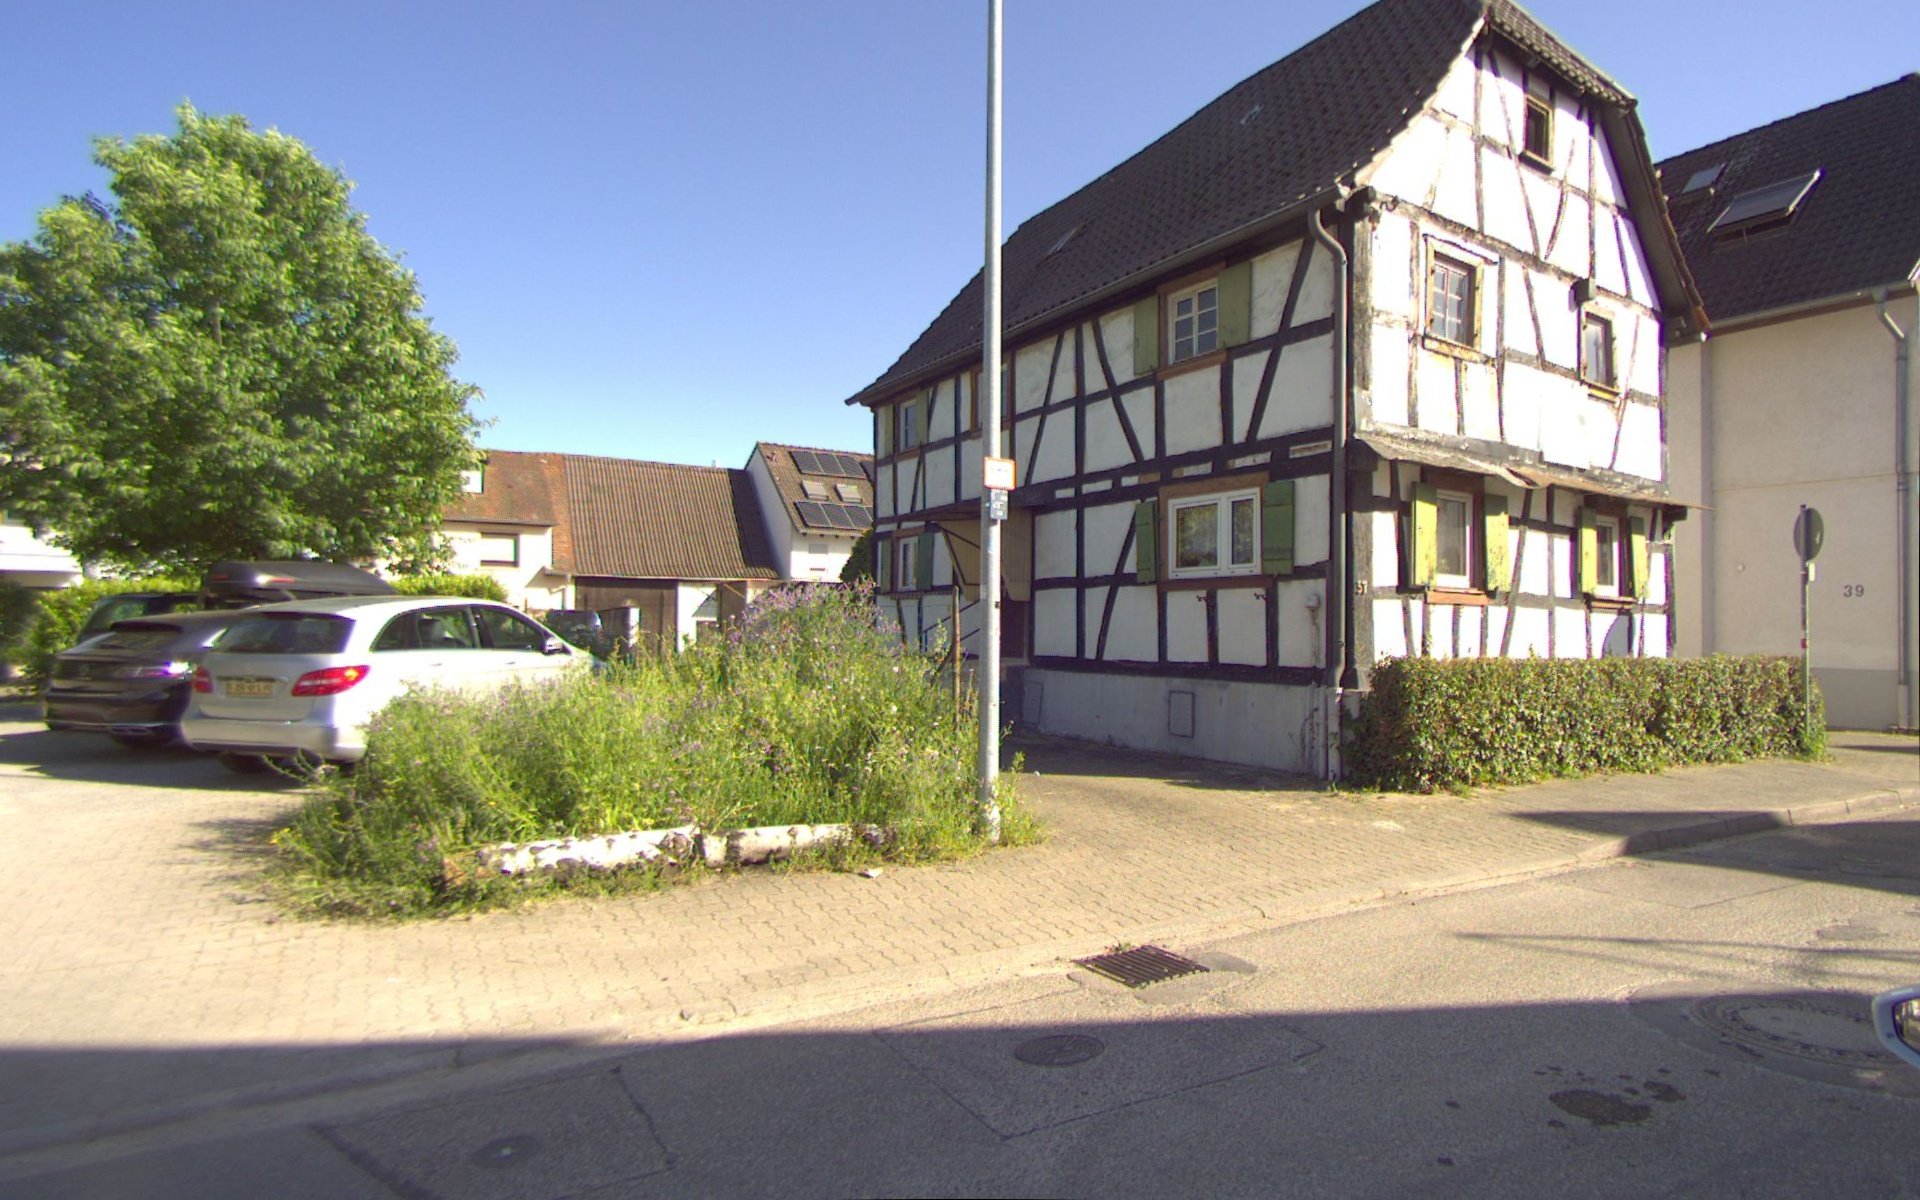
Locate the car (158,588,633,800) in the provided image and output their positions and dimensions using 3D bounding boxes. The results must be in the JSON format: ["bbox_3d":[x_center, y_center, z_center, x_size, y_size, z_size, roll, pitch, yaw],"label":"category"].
[{"bbox_3d":[-5.121,0.760,9.826,1.655,1.585,4.002,2,-1,16],"label":"car"}]

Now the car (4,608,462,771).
[{"bbox_3d":[-7.498,0.829,10.876,1.609,1.420,3.834,0,-1,16],"label":"car"}]

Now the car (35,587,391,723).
[{"bbox_3d":[-10.347,0.728,14.302,1.619,1.655,3.834,1,-2,16],"label":"car"}]

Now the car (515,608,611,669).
[{"bbox_3d":[-12.058,1.135,30.403,1.694,1.657,3.908,2,-1,-37],"label":"car"}]
